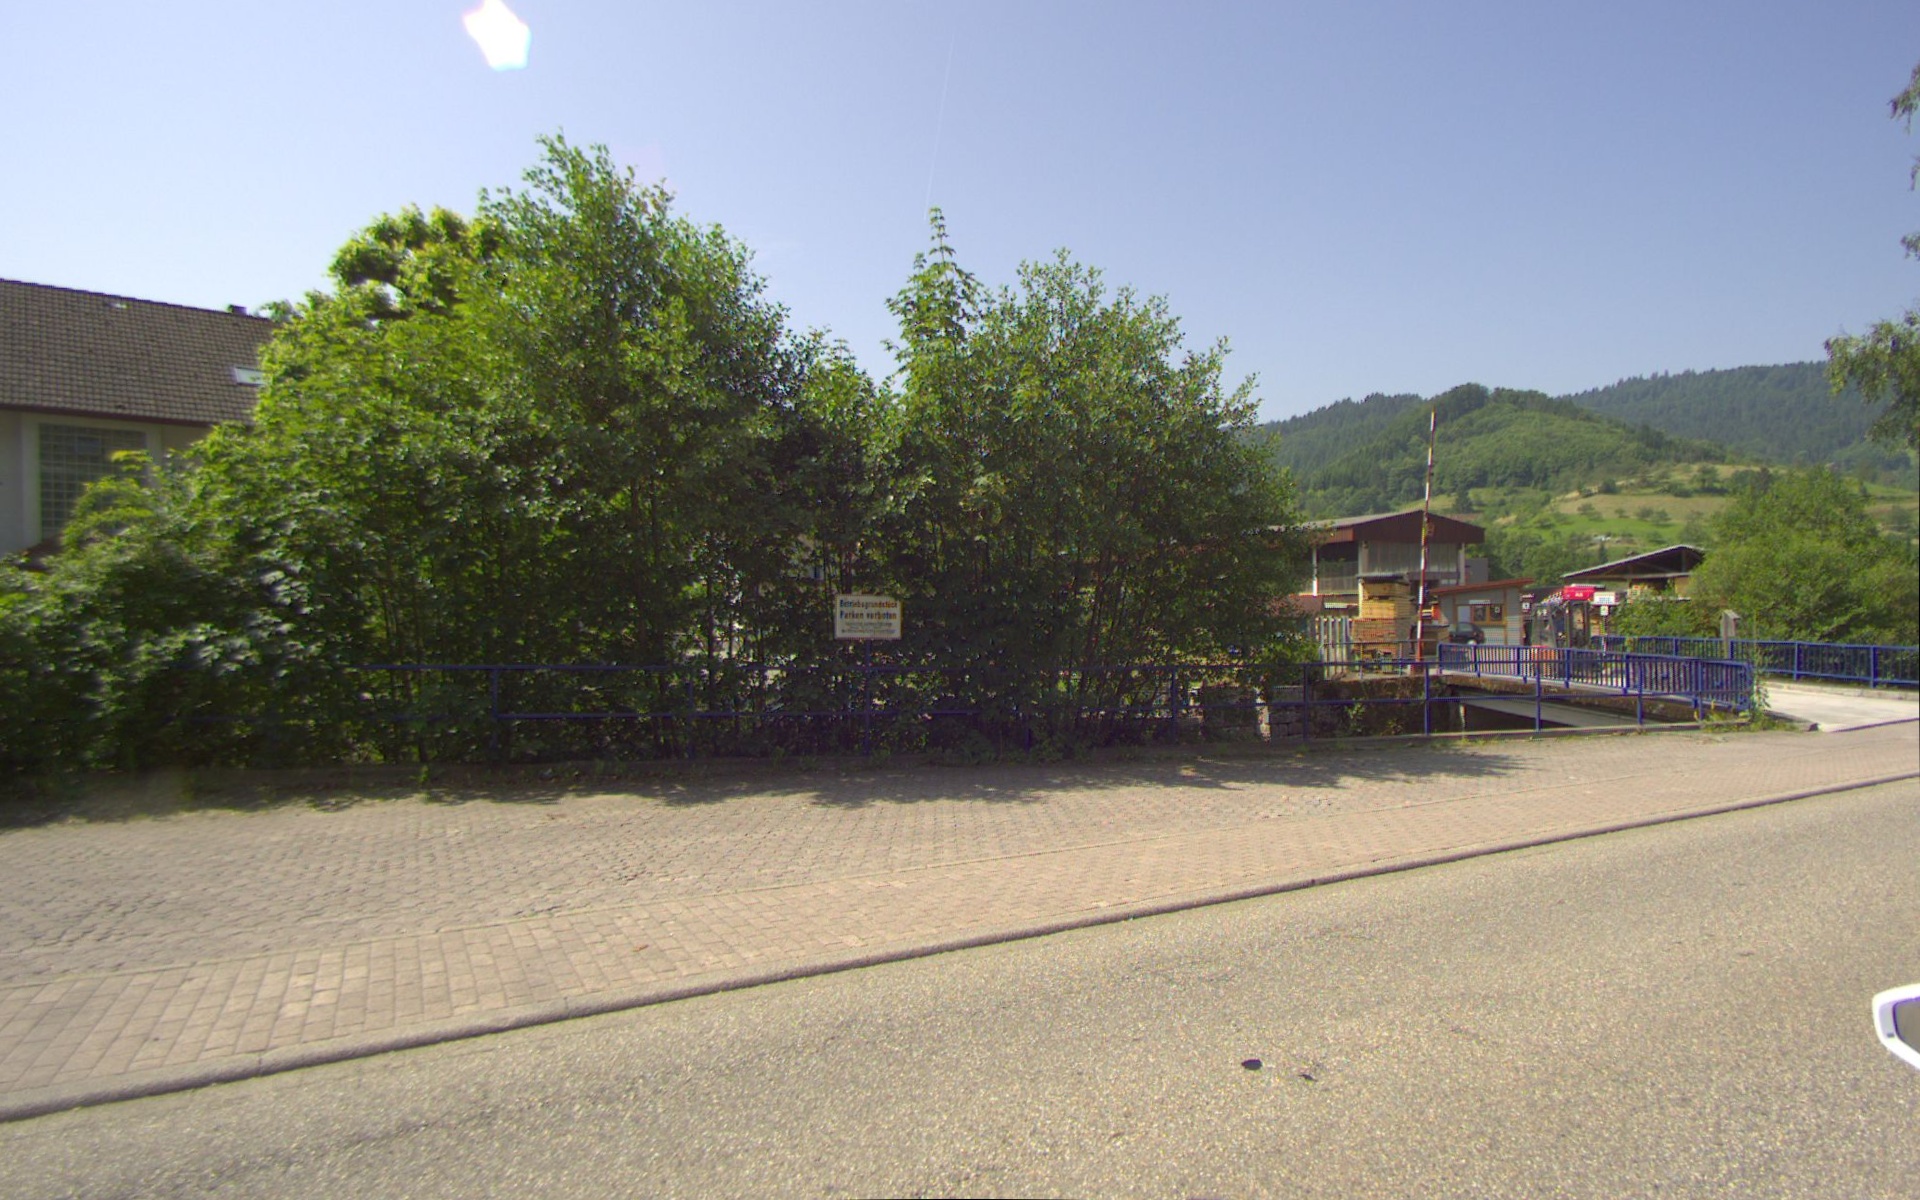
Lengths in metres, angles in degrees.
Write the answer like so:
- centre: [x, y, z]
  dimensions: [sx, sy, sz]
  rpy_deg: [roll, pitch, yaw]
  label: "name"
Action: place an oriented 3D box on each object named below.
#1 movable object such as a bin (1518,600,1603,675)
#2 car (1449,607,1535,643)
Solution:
- centre: [17.379, 1.075, 29.150]
  dimensions: [1.114, 2.099, 2.126]
  rpy_deg: [0, -2, -2]
  label: "movable object such as a bin"
- centre: [30.702, 1.469, 58.053]
  dimensions: [3.919, 2.040, 2.002]
  rpy_deg: [-1, -2, 9]
  label: "car"
